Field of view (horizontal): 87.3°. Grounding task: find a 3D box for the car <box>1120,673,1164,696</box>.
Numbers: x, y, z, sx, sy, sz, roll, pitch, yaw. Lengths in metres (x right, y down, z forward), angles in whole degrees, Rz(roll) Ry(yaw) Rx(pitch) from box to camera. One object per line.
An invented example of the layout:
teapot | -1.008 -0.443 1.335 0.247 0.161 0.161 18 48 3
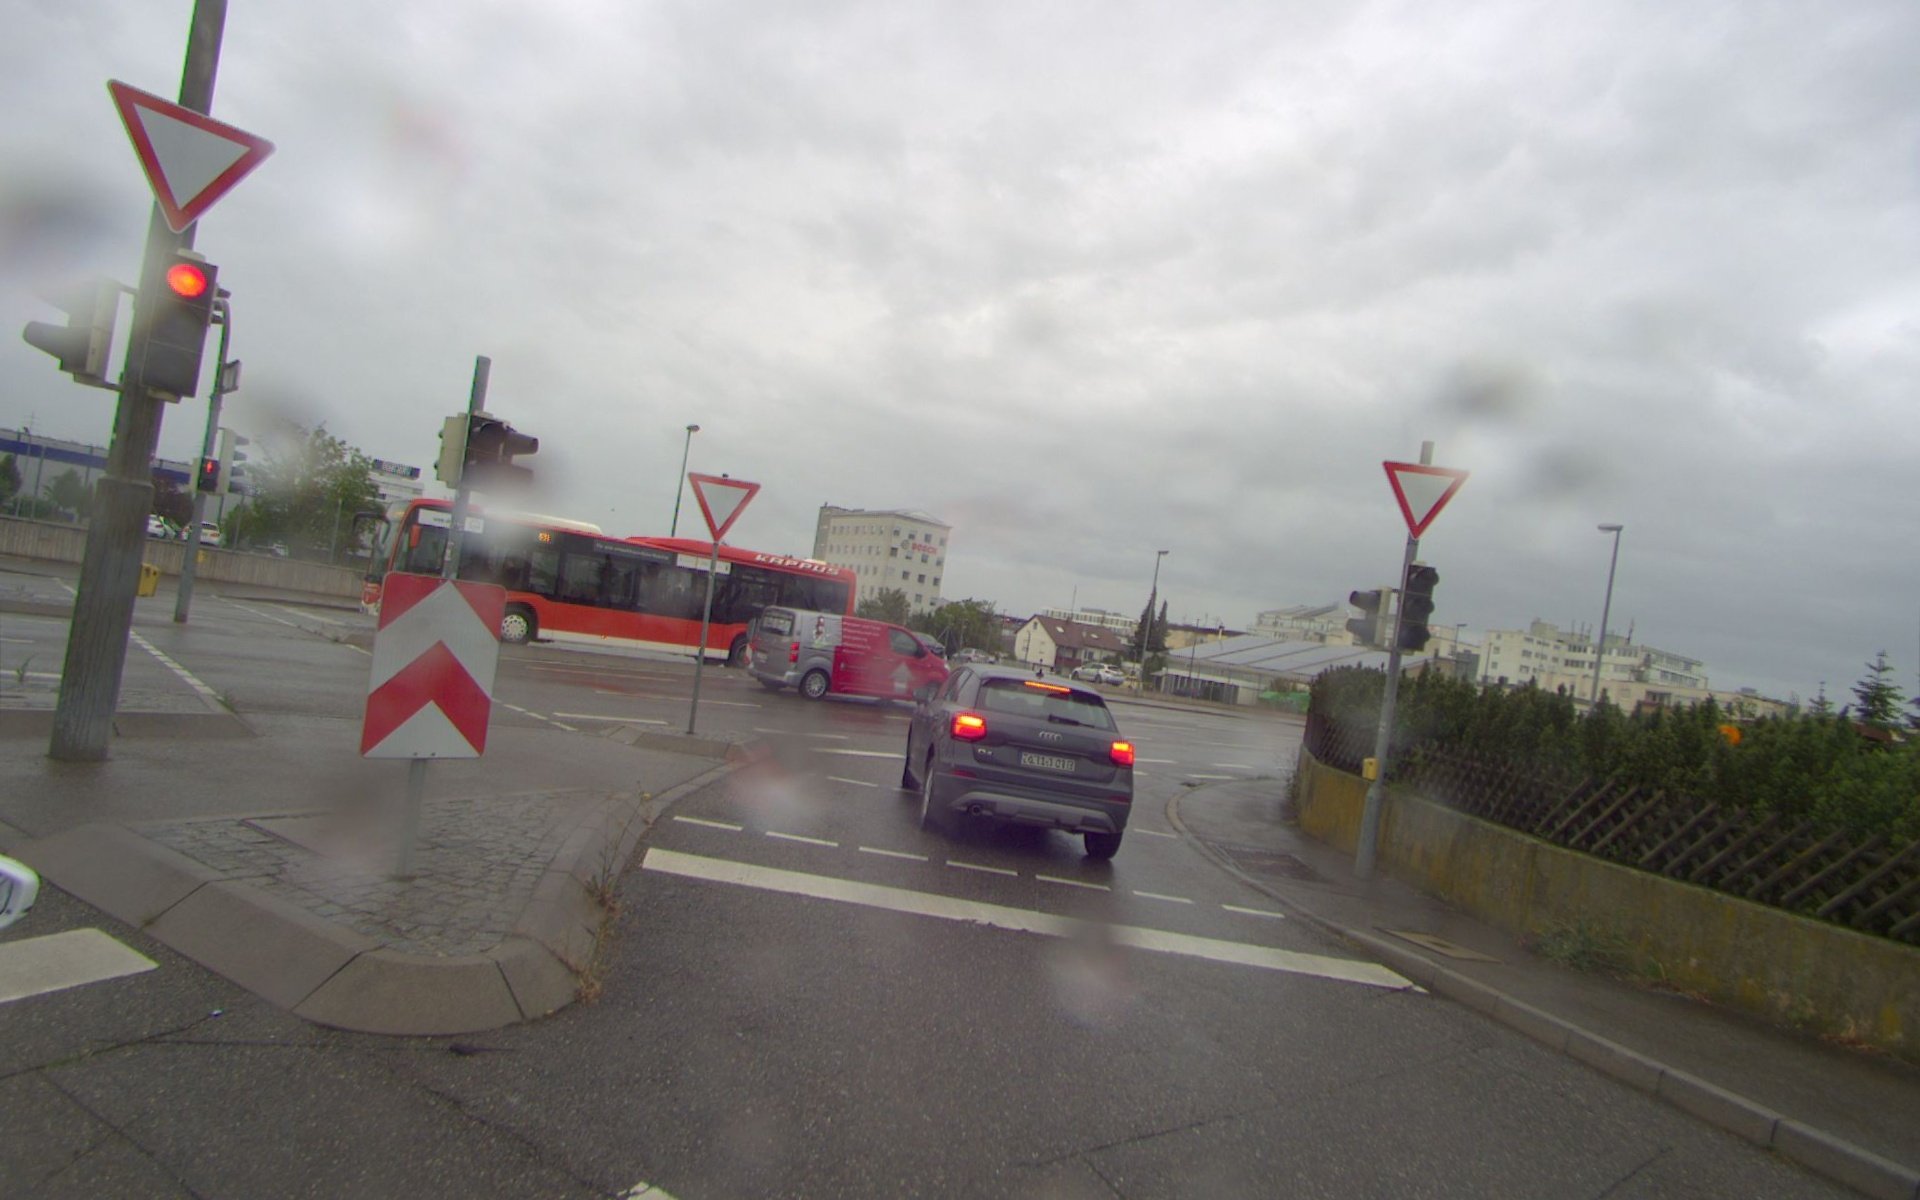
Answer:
car | 18.093 8.406 100.006 3.760 1.771 1.887 9 -2 -29

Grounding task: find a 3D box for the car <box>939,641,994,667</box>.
car | 0.527 4.390 82.226 3.951 1.494 1.989 9 -2 -24

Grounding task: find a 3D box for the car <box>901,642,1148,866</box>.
car | 0.410 1.320 9.997 1.659 1.512 3.938 8 -2 -5

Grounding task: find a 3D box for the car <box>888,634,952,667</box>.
car | -2.488 3.102 61.957 1.983 1.494 3.964 10 -2 -34

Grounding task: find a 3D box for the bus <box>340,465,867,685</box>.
bus | -8.396 -0.278 25.855 12.247 3.357 3.039 12 -3 -41

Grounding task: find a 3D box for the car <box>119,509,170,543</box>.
car | -45.631 -4.117 56.359 1.985 1.495 3.959 10 -2 -38

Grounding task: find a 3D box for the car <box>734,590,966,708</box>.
car | -2.386 1.156 22.749 4.756 2.037 1.977 9 -2 -41

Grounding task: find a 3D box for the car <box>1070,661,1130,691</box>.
car | 9.721 5.266 70.055 1.979 1.494 3.971 9 -2 -29

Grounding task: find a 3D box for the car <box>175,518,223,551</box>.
car | -43.912 -3.791 58.027 1.986 1.495 3.958 10 -2 -38
